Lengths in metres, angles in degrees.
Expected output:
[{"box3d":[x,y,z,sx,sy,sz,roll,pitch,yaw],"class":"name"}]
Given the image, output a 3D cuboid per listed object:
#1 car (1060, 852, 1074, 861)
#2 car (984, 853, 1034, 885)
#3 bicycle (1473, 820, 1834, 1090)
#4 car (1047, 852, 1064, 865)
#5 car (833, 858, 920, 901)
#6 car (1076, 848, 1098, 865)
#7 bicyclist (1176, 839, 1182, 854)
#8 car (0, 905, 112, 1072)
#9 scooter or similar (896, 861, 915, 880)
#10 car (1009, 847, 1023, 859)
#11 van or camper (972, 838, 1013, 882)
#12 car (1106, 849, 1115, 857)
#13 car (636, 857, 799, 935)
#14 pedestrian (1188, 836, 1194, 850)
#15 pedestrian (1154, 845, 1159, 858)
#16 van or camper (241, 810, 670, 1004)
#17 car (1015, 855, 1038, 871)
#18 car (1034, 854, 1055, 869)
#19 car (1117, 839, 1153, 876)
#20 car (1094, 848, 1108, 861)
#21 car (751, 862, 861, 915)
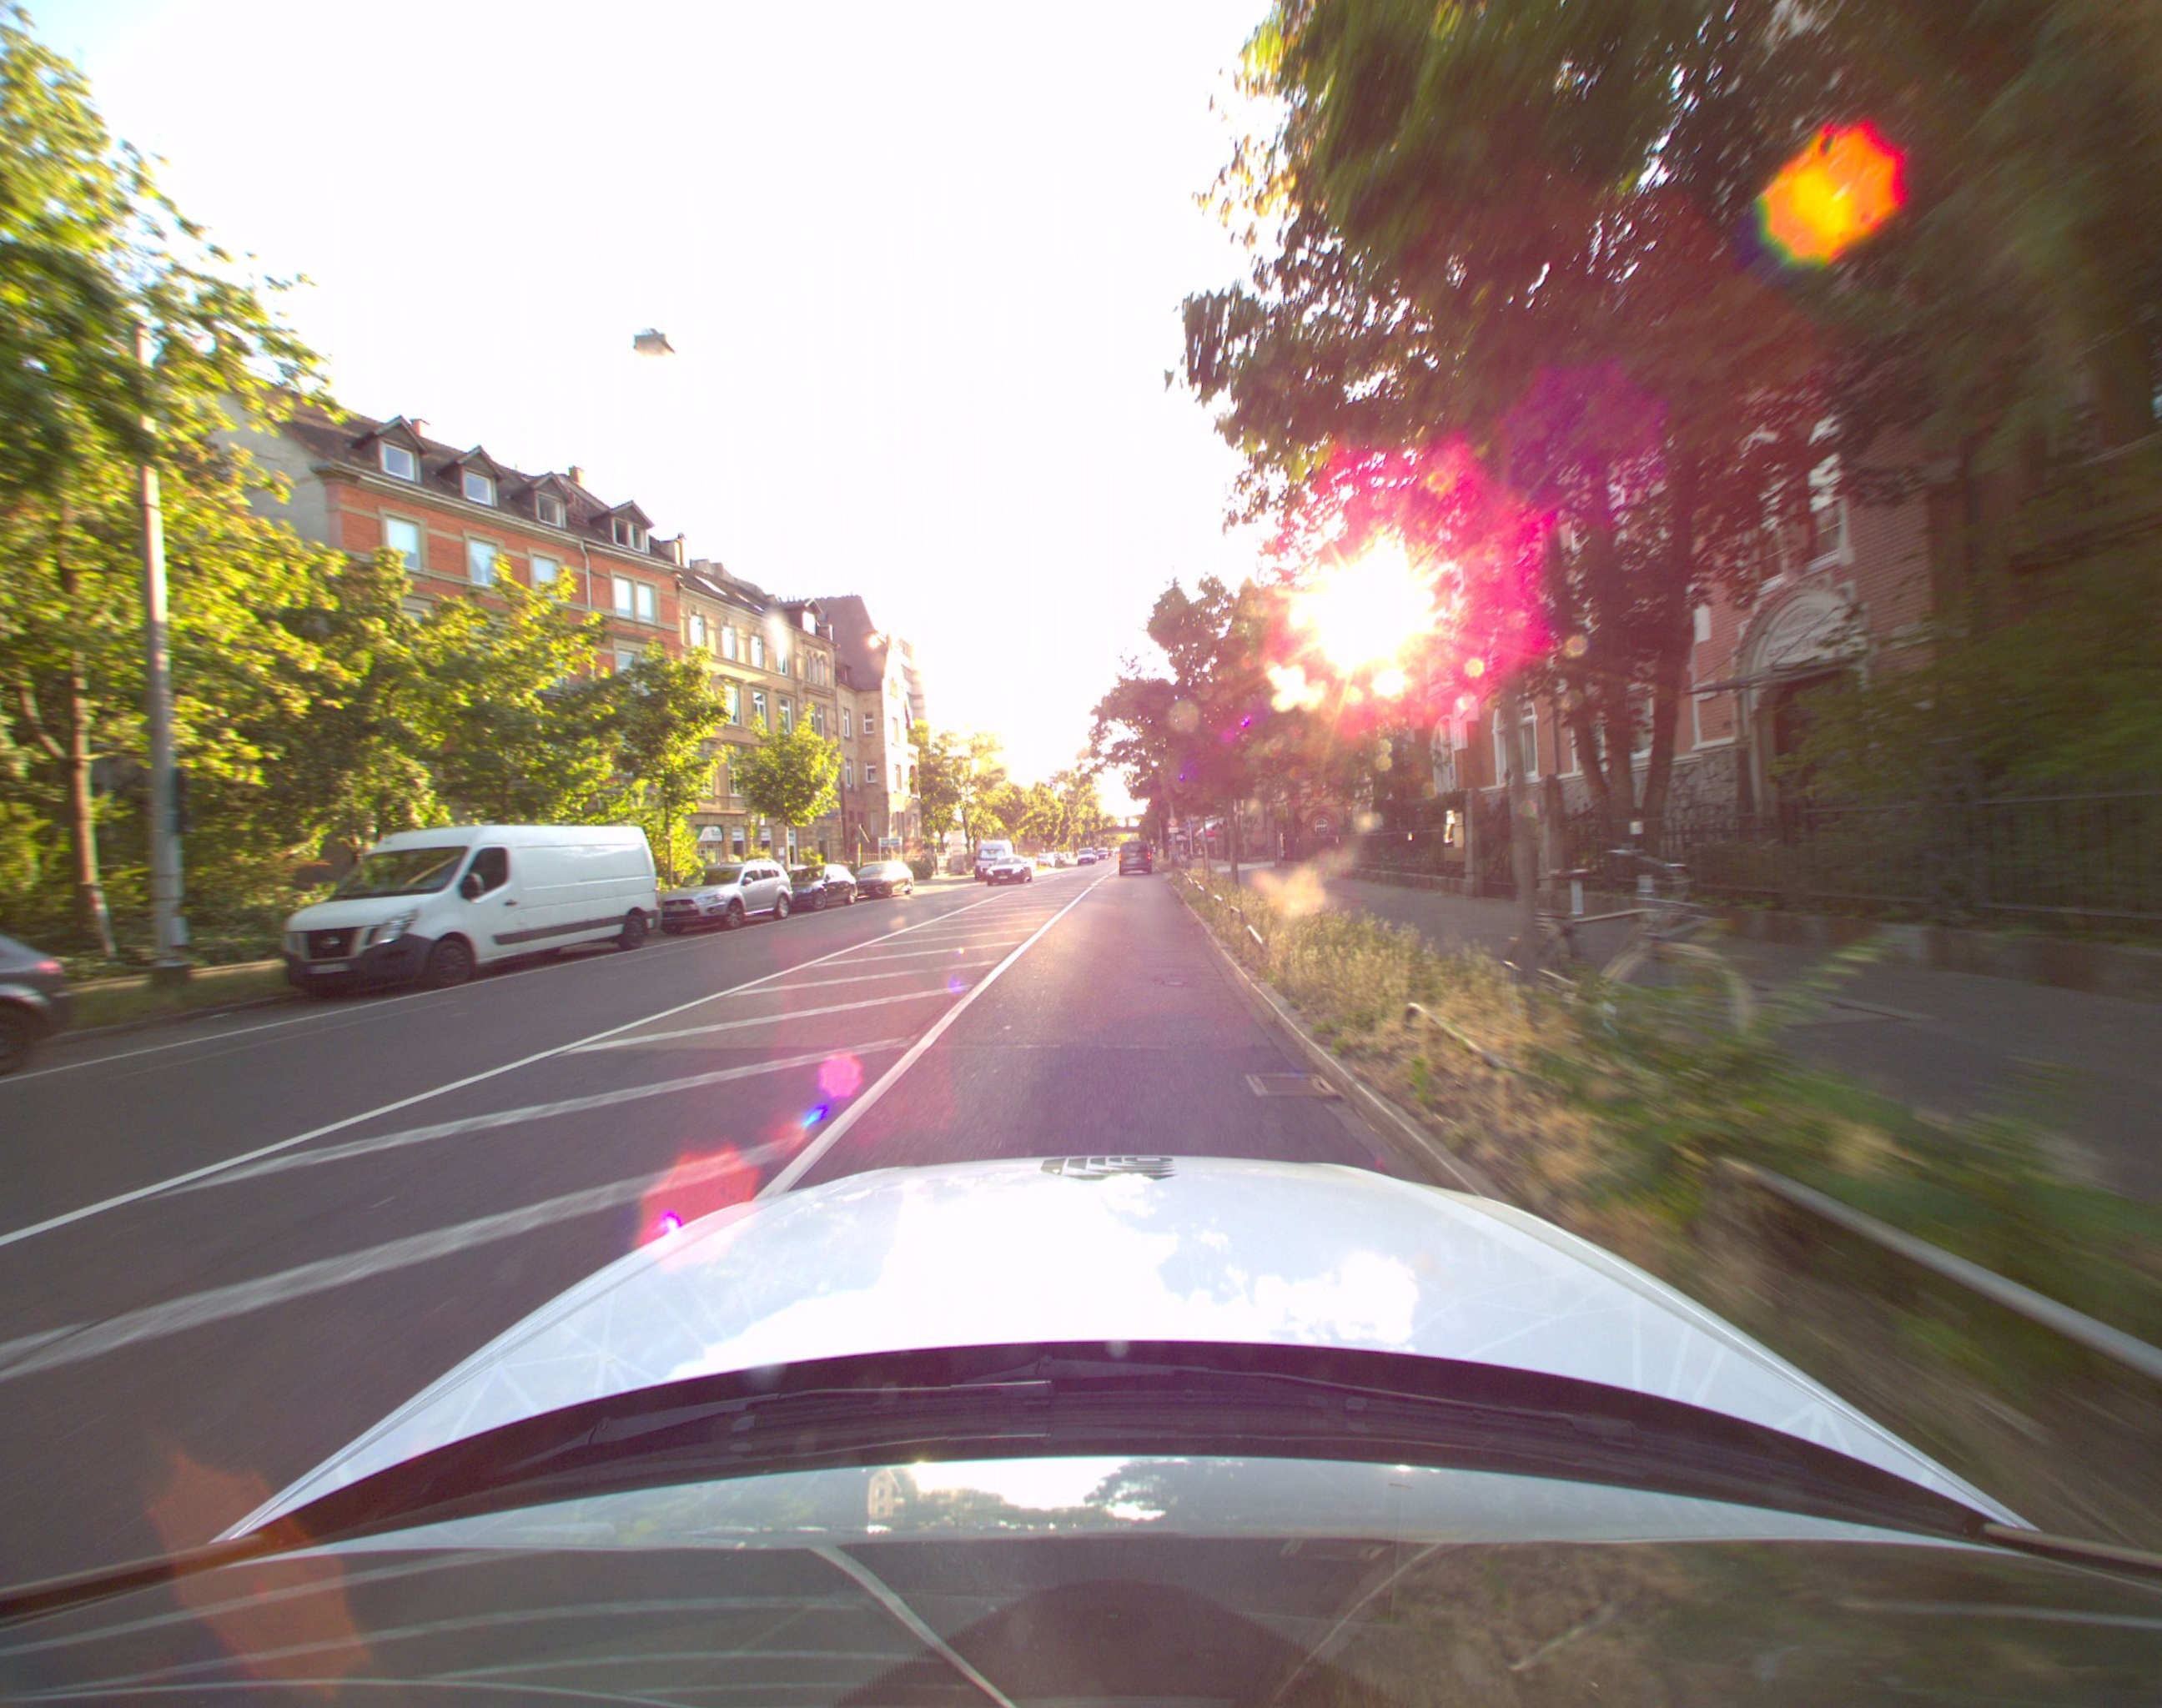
[{"box3d":[-2.319,0.413,134.617,1.984,1.414,4.242,-1,0,4],"class":"car"},{"box3d":[-3.571,0.708,41.270,1.758,1.402,4.549,-3,0,4],"class":"car"},{"box3d":[2.965,0.433,4.525,0.644,1.167,1.931,-1,0,0],"class":"bicycle"},{"box3d":[-2.958,0.528,95.552,1.631,1.385,4.004,-1,0,3],"class":"car"},{"box3d":[-8.222,0.976,33.219,1.985,1.483,4.834,-3,0,4],"class":"car"},{"box3d":[0.749,0.278,94.029,1.984,1.831,5.177,-4,0,5],"class":"car"},{"box3d":[10.389,-0.808,86.388,0.593,1.532,0.894,-1,0,4],"class":"bicyclist"},{"box3d":[-10.538,1.289,5.944,1.621,1.429,4.246,-4,0,3],"class":"car"},{"box3d":[-10.889,1.030,50.644,1.124,1.057,0.285,-4,0,-44],"class":"scooter or similar"},{"box3d":[-13.364,-0.271,167.505,1.984,2.307,5.251,-1,0,4],"class":"car"},{"box3d":[-5.798,0.352,53.843,1.987,2.668,6.038,-1,0,0],"class":"van or camper"},{"box3d":[6.176,-0.238,171.458,1.671,1.530,4.005,-5,0,4],"class":"car"},{"box3d":[-9.246,0.994,21.221,1.858,1.645,4.576,-4,0,3],"class":"car"},{"box3d":[12.986,-1.322,95.751,0.641,1.633,0.657,-1,0,4],"class":"pedestrian"},{"box3d":[10.859,-0.350,117.098,0.504,1.888,0.543,-1,0,-11],"class":"pedestrian"},{"box3d":[-9.945,0.682,14.017,2.082,2.468,6.311,-4,0,3],"class":"van or camper"},{"box3d":[-4.647,0.750,69.453,1.529,1.248,3.617,-1,0,3],"class":"car"},{"box3d":[-3.689,0.766,82.994,1.690,1.451,4.004,-1,0,3],"class":"car"},{"box3d":[3.153,0.144,46.682,1.878,1.925,3.845,-3,0,5],"class":"car"},{"box3d":[3.171,0.043,128.375,1.825,1.852,4.478,-4,0,3],"class":"car"},{"box3d":[-8.957,1.056,26.948,1.728,1.445,4.630,-3,0,4],"class":"car"}]
